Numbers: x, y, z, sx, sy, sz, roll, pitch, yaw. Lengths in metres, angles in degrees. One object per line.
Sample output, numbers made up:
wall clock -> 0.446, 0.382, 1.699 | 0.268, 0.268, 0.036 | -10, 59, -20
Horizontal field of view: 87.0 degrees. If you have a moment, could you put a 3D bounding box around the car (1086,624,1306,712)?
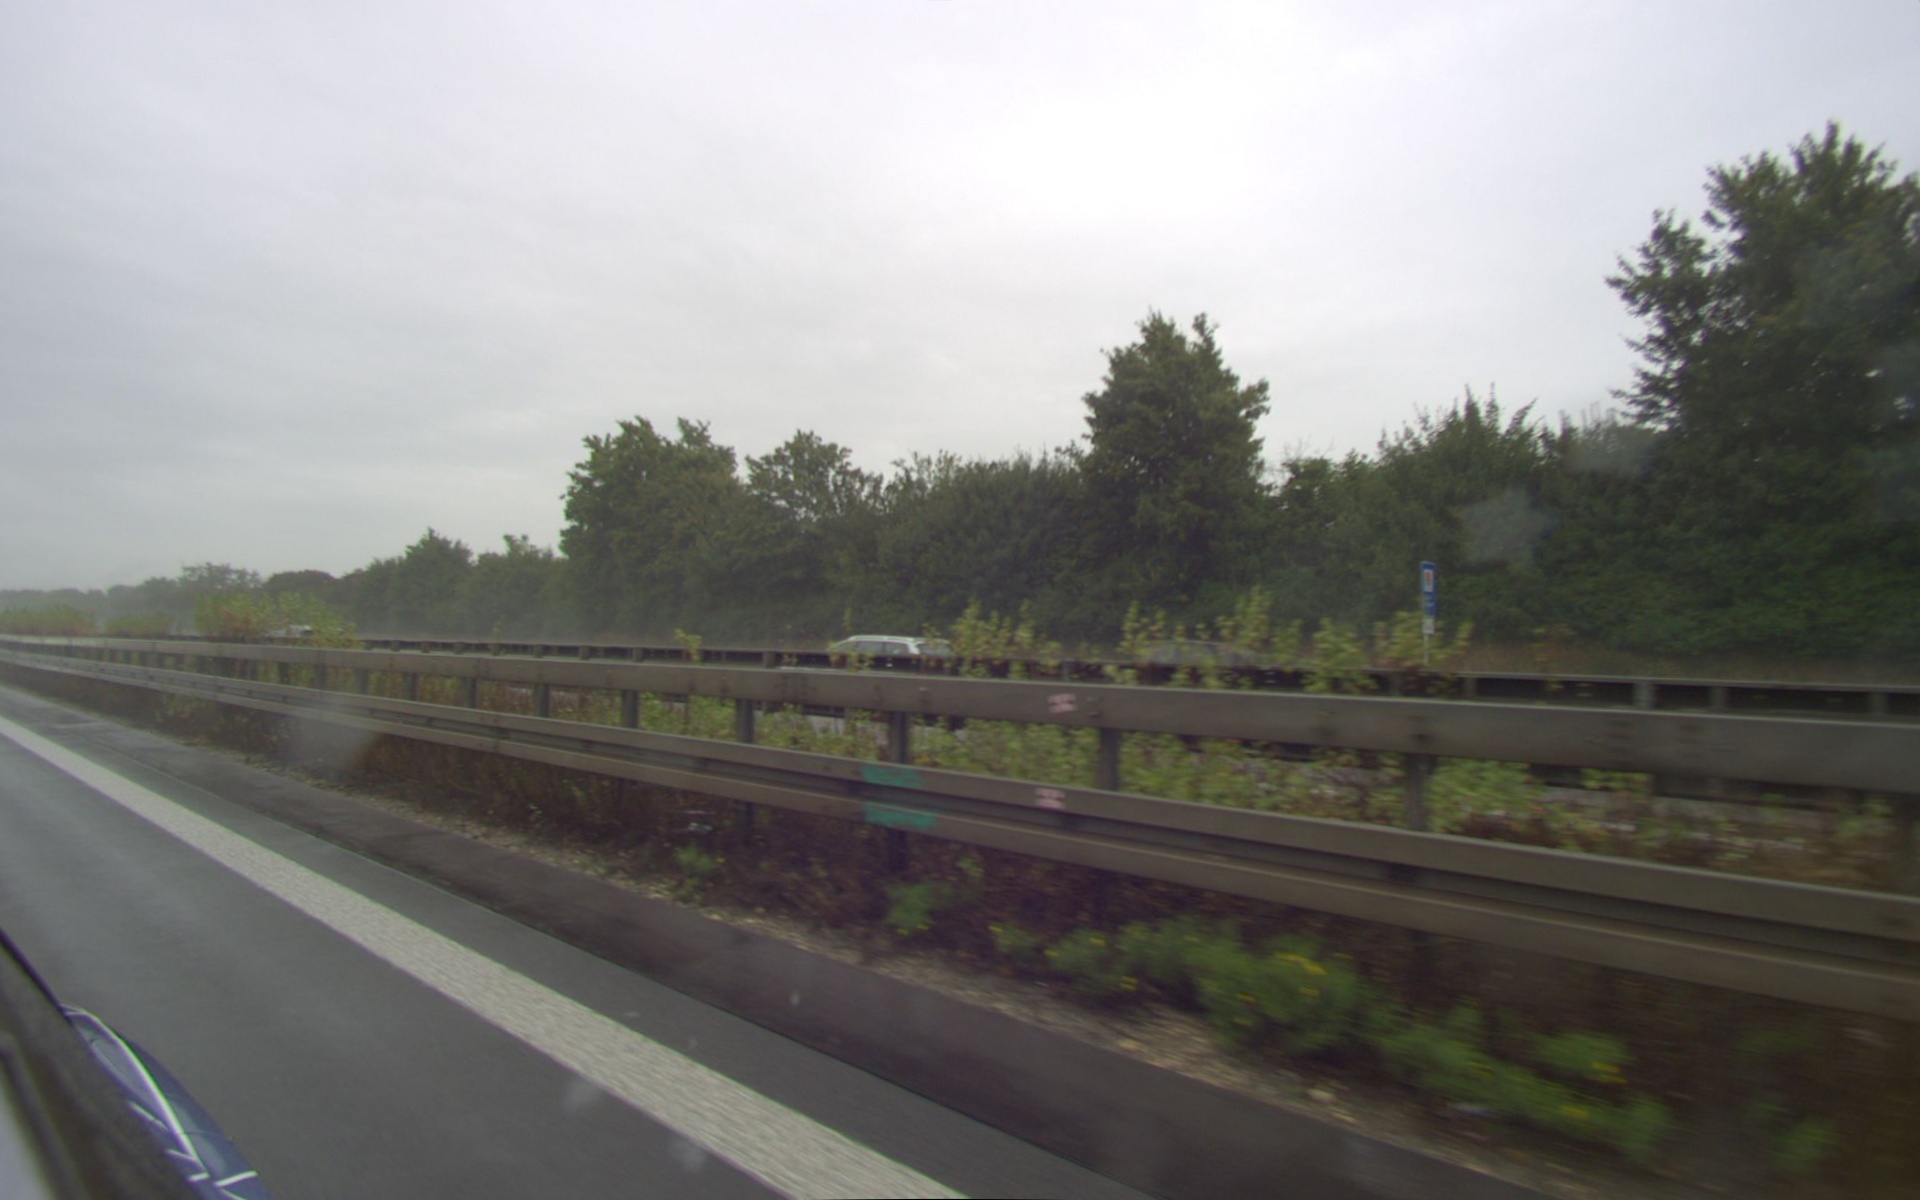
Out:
car -> 4.730, 1.318, 20.561 | 3.997, 1.579, 1.715 | -2, -1, 40

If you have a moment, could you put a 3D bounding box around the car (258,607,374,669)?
car -> -21.467, 1.262, 33.667 | 4.625, 1.899, 2.010 | -2, -1, 41

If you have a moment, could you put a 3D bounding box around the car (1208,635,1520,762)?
car -> 5.571, 1.274, 14.198 | 3.740, 1.505, 1.567 | -2, -1, 40

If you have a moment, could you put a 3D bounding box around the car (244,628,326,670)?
car -> -31.354, 2.259, 46.968 | 4.625, 1.805, 2.010 | -2, -1, 41

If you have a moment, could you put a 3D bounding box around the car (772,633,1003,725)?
car -> -1.549, 1.496, 20.214 | 4.757, 1.579, 1.715 | -2, -1, 40
